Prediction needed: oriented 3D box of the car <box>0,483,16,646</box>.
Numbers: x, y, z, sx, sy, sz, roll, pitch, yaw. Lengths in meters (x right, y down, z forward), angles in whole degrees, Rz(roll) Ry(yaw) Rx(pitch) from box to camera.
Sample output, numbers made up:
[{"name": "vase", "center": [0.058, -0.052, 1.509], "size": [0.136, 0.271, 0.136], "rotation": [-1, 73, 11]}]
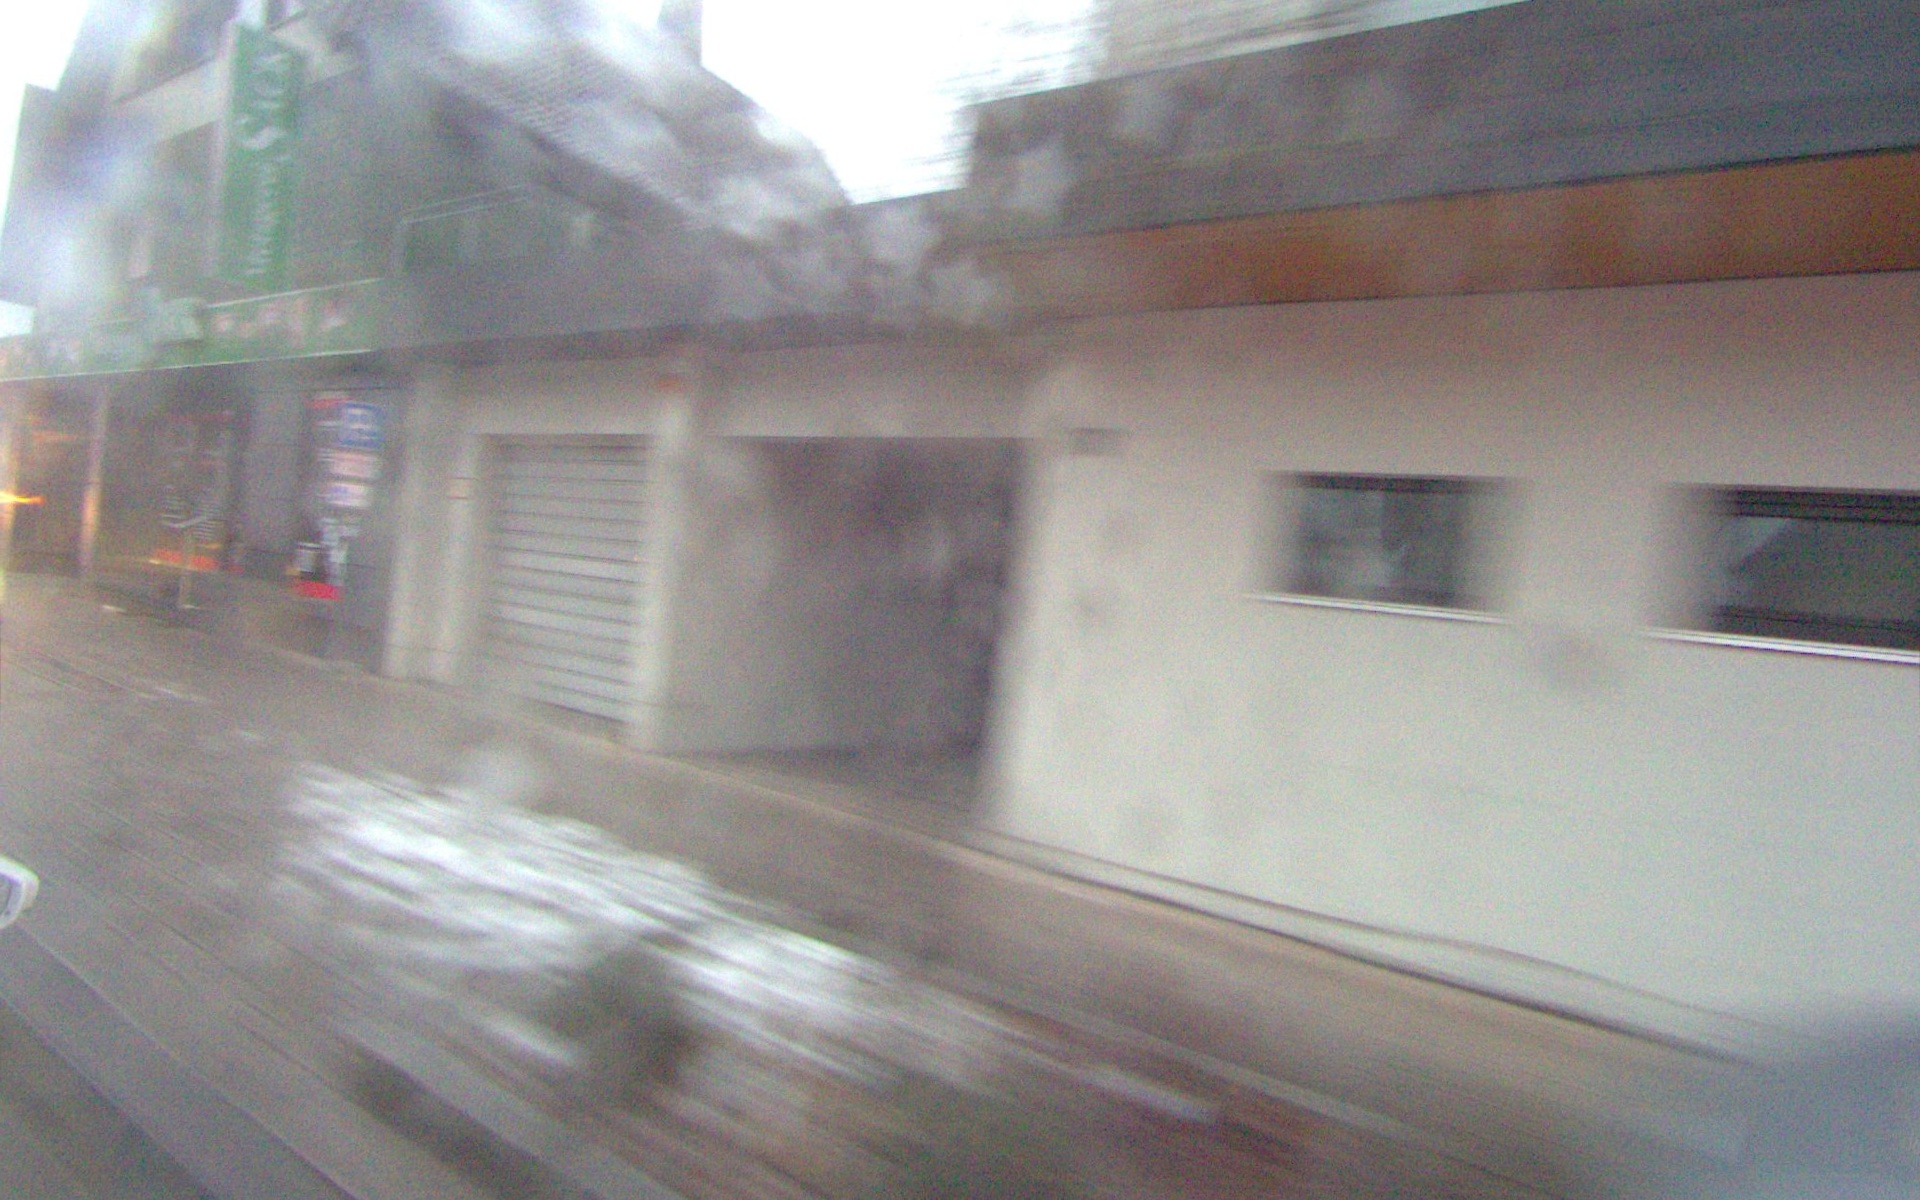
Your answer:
[{"name": "car", "center": [-9.982, -0.477, 9.008], "size": [2.683, 1.435, 1.644], "rotation": [8, 3, 34]}]

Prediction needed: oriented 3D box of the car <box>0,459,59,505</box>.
[{"name": "car", "center": [-37.102, -4.534, 38.137], "size": [1.778, 1.664, 4.159], "rotation": [8, 7, 40]}]

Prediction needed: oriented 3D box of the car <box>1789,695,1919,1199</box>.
[{"name": "car", "center": [3.247, 1.133, 0.440], "size": [4.167, 1.474, 1.652], "rotation": [7, 3, 31]}]
